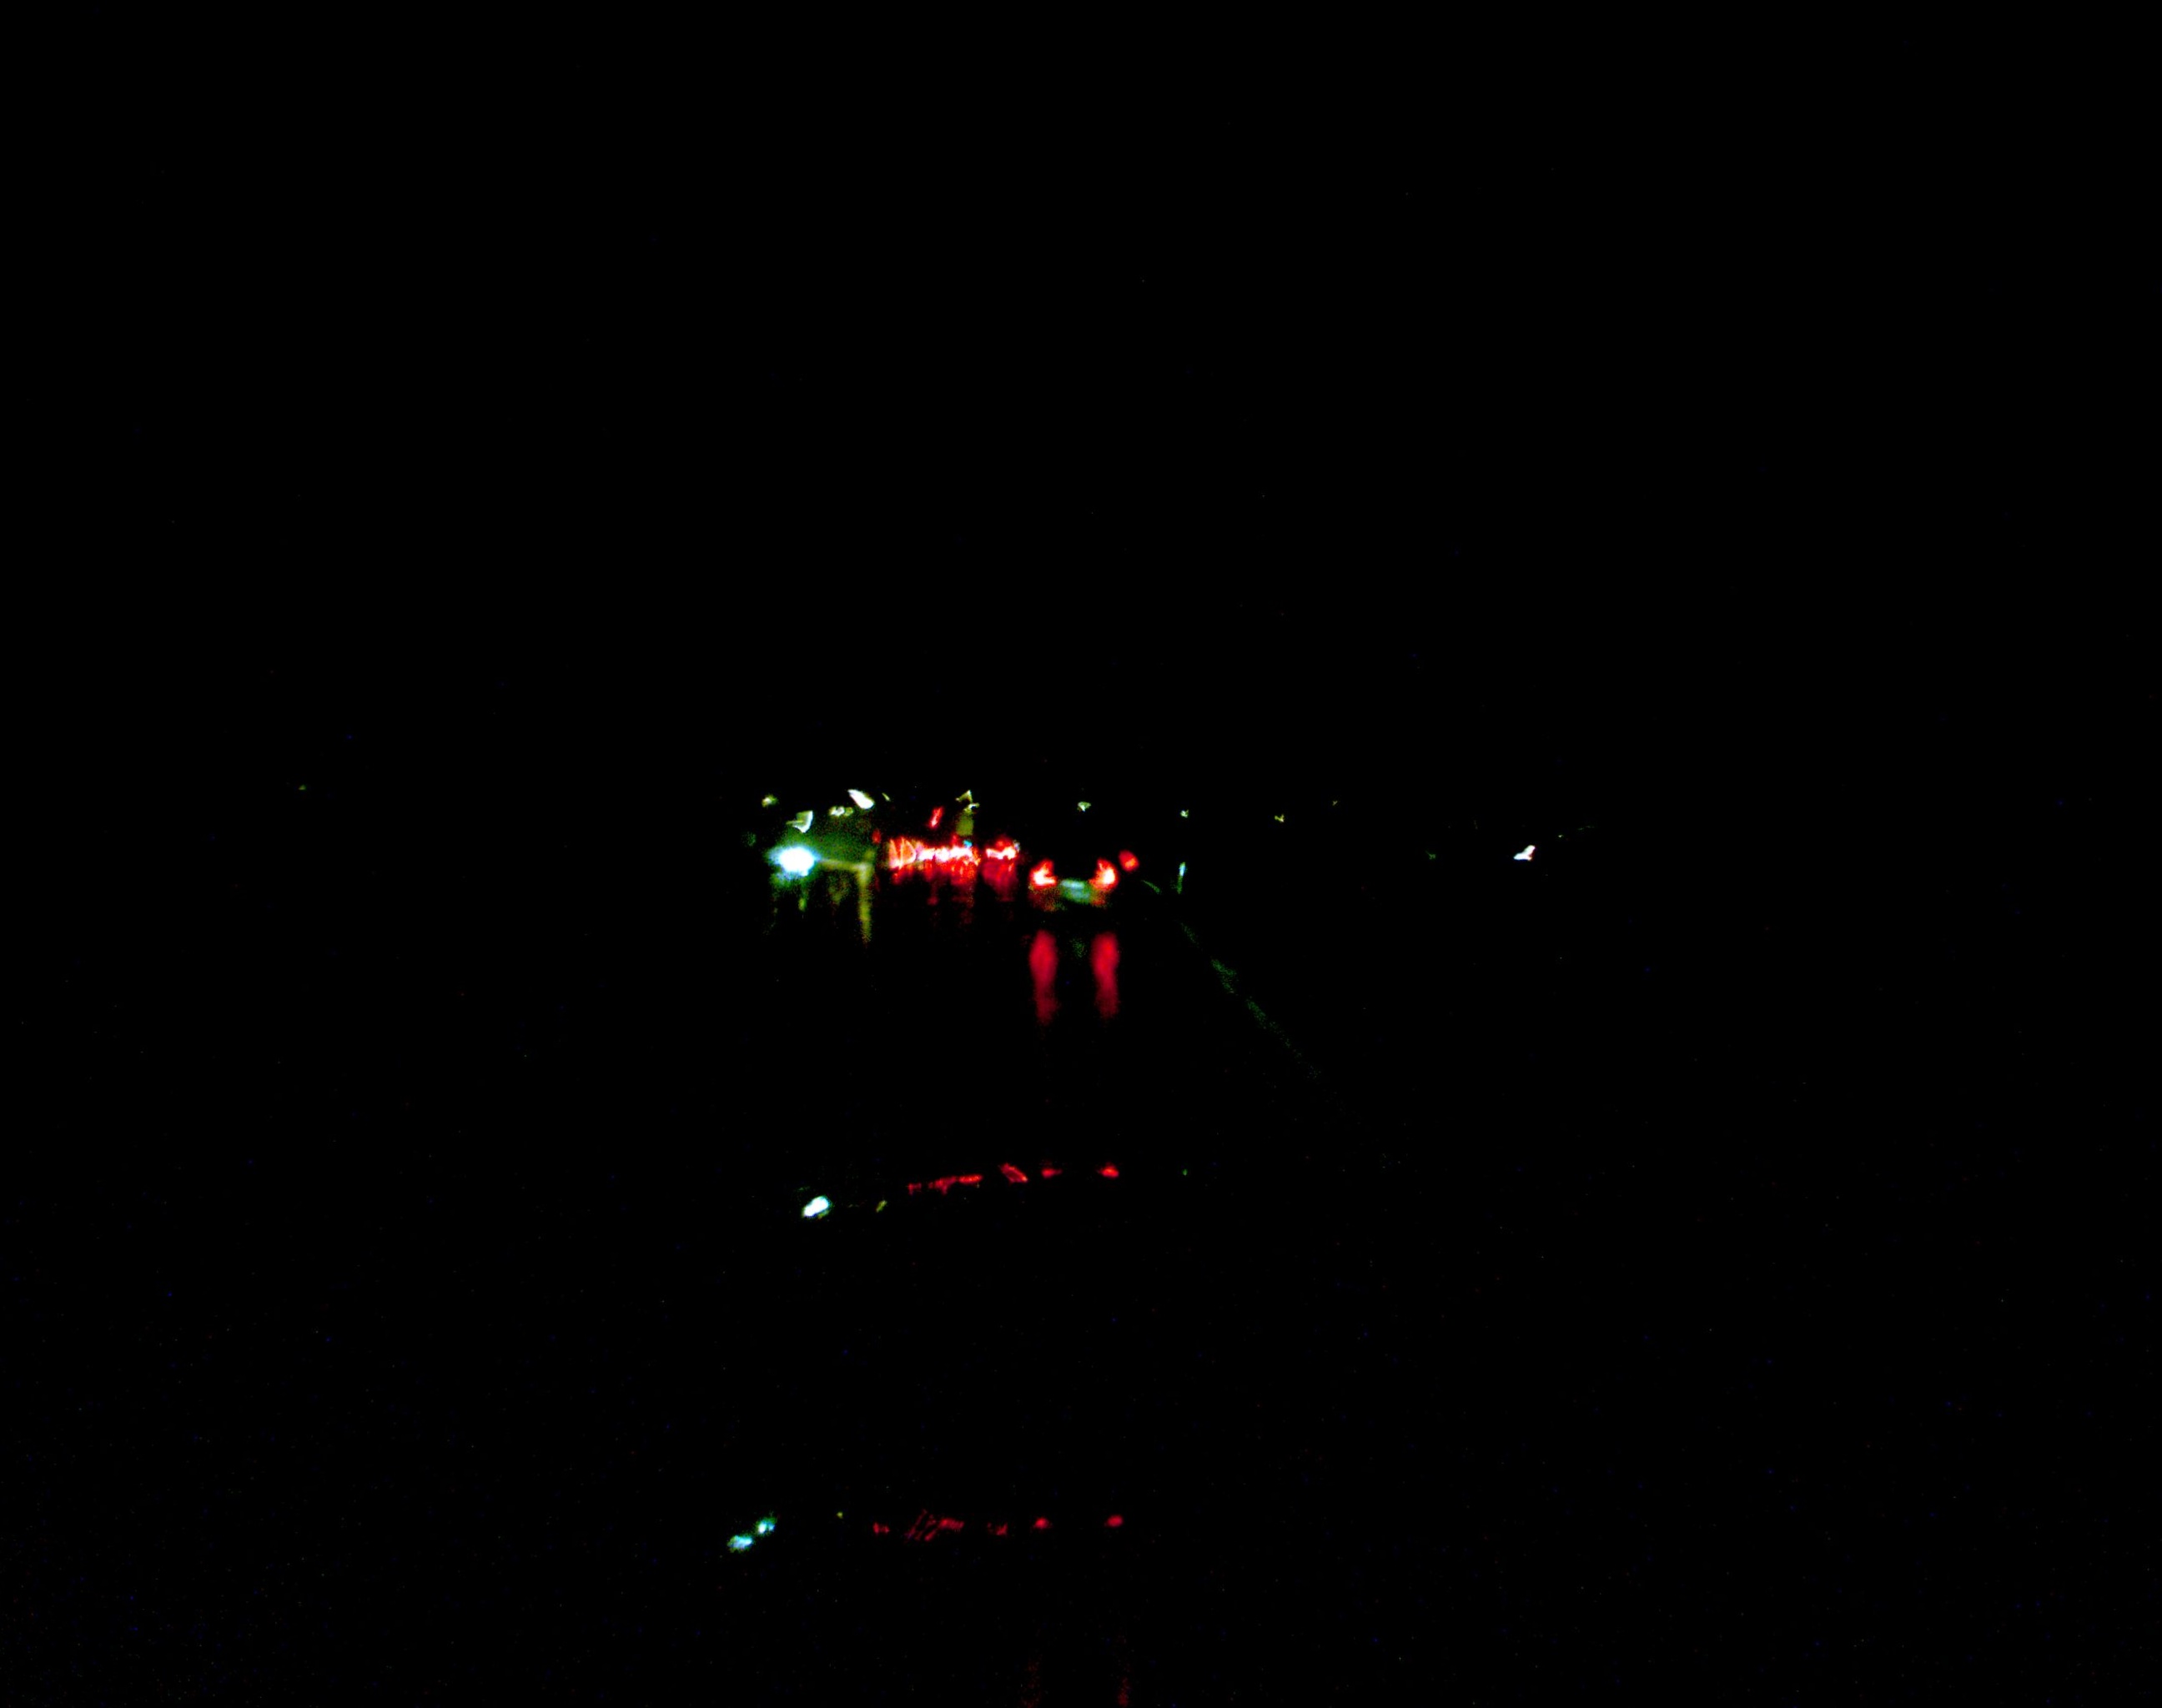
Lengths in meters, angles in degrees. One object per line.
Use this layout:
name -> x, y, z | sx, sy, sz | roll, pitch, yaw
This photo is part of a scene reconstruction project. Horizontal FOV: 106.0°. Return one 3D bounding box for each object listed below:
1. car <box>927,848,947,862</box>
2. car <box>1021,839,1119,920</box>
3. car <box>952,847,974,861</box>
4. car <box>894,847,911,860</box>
car -> -18.191, 0.083, 102.504 | 1.997, 1.627, 4.959 | -3, 2, -15
car -> -0.172, 0.549, 19.076 | 1.986, 1.628, 4.985 | -1, -1, 1
car -> -14.881, 0.013, 102.628 | 1.997, 1.627, 4.959 | -3, 2, -15
car -> -24.648, -0.064, 112.517 | 1.997, 1.627, 4.959 | -3, 2, -15
